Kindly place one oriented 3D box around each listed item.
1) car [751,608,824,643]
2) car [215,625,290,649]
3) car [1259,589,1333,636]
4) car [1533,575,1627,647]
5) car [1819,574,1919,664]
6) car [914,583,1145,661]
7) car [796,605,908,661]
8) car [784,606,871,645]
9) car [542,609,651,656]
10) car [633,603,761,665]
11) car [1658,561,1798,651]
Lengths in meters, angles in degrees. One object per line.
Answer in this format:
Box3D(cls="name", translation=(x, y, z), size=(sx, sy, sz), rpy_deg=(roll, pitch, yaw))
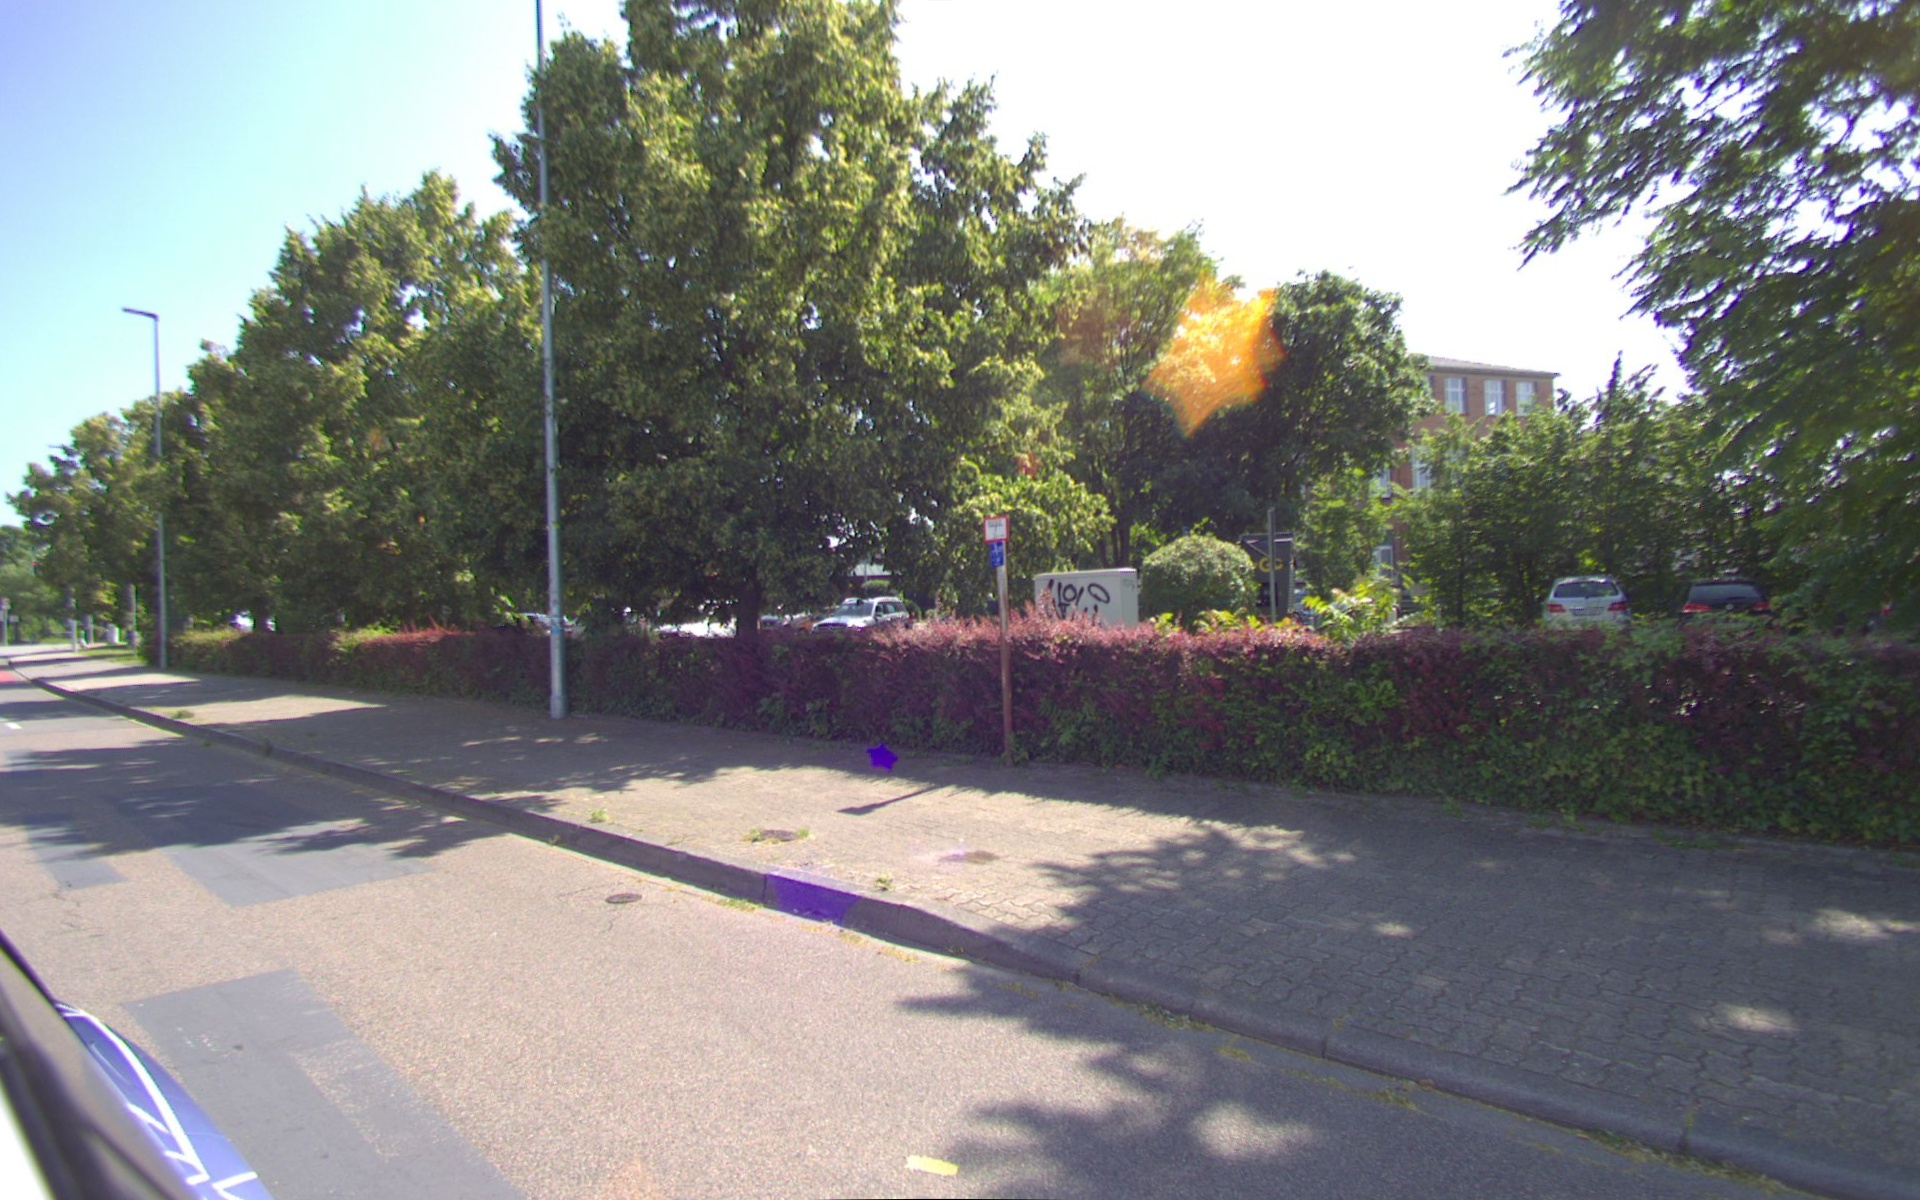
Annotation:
Box3D(cls="car", translation=(-8.453, 1.237, 49.718), size=(1.614, 1.543, 3.577), rpy_deg=(-2, 0, 30))
Box3D(cls="car", translation=(-56.764, 2.965, 81.289), size=(4.503, 1.664, 1.837), rpy_deg=(-1, 2, -15))
Box3D(cls="car", translation=(11.668, 0.409, 34.989), size=(1.786, 1.461, 4.010), rpy_deg=(-2, 0, 28))
Box3D(cls="car", translation=(15.147, 0.232, 24.871), size=(1.635, 1.599, 3.814), rpy_deg=(-2, 0, 27))
Box3D(cls="car", translation=(16.803, 0.266, 17.905), size=(1.620, 1.406, 4.032), rpy_deg=(-2, 0, 29))
Box3D(cls="car", translation=(1.458, 0.479, 22.797), size=(5.030, 1.572, 2.045), rpy_deg=(-2, -1, 43))
Box3D(cls="car", translation=(-3.415, 1.039, 32.720), size=(1.895, 1.595, 3.778), rpy_deg=(-2, 0, 25))
Box3D(cls="car", translation=(-6.070, 1.190, 46.318), size=(3.709, 1.644, 1.652), rpy_deg=(-2, 0, 30))
Box3D(cls="car", translation=(-15.507, 1.374, 43.168), size=(4.197, 1.812, 1.748), rpy_deg=(-2, 0, 21))
Box3D(cls="car", translation=(-8.586, 1.075, 33.418), size=(1.738, 1.841, 4.319), rpy_deg=(-3, -1, 23))
Box3D(cls="car", translation=(16.518, 0.096, 21.962), size=(1.794, 1.745, 3.985), rpy_deg=(-2, 0, 29))
